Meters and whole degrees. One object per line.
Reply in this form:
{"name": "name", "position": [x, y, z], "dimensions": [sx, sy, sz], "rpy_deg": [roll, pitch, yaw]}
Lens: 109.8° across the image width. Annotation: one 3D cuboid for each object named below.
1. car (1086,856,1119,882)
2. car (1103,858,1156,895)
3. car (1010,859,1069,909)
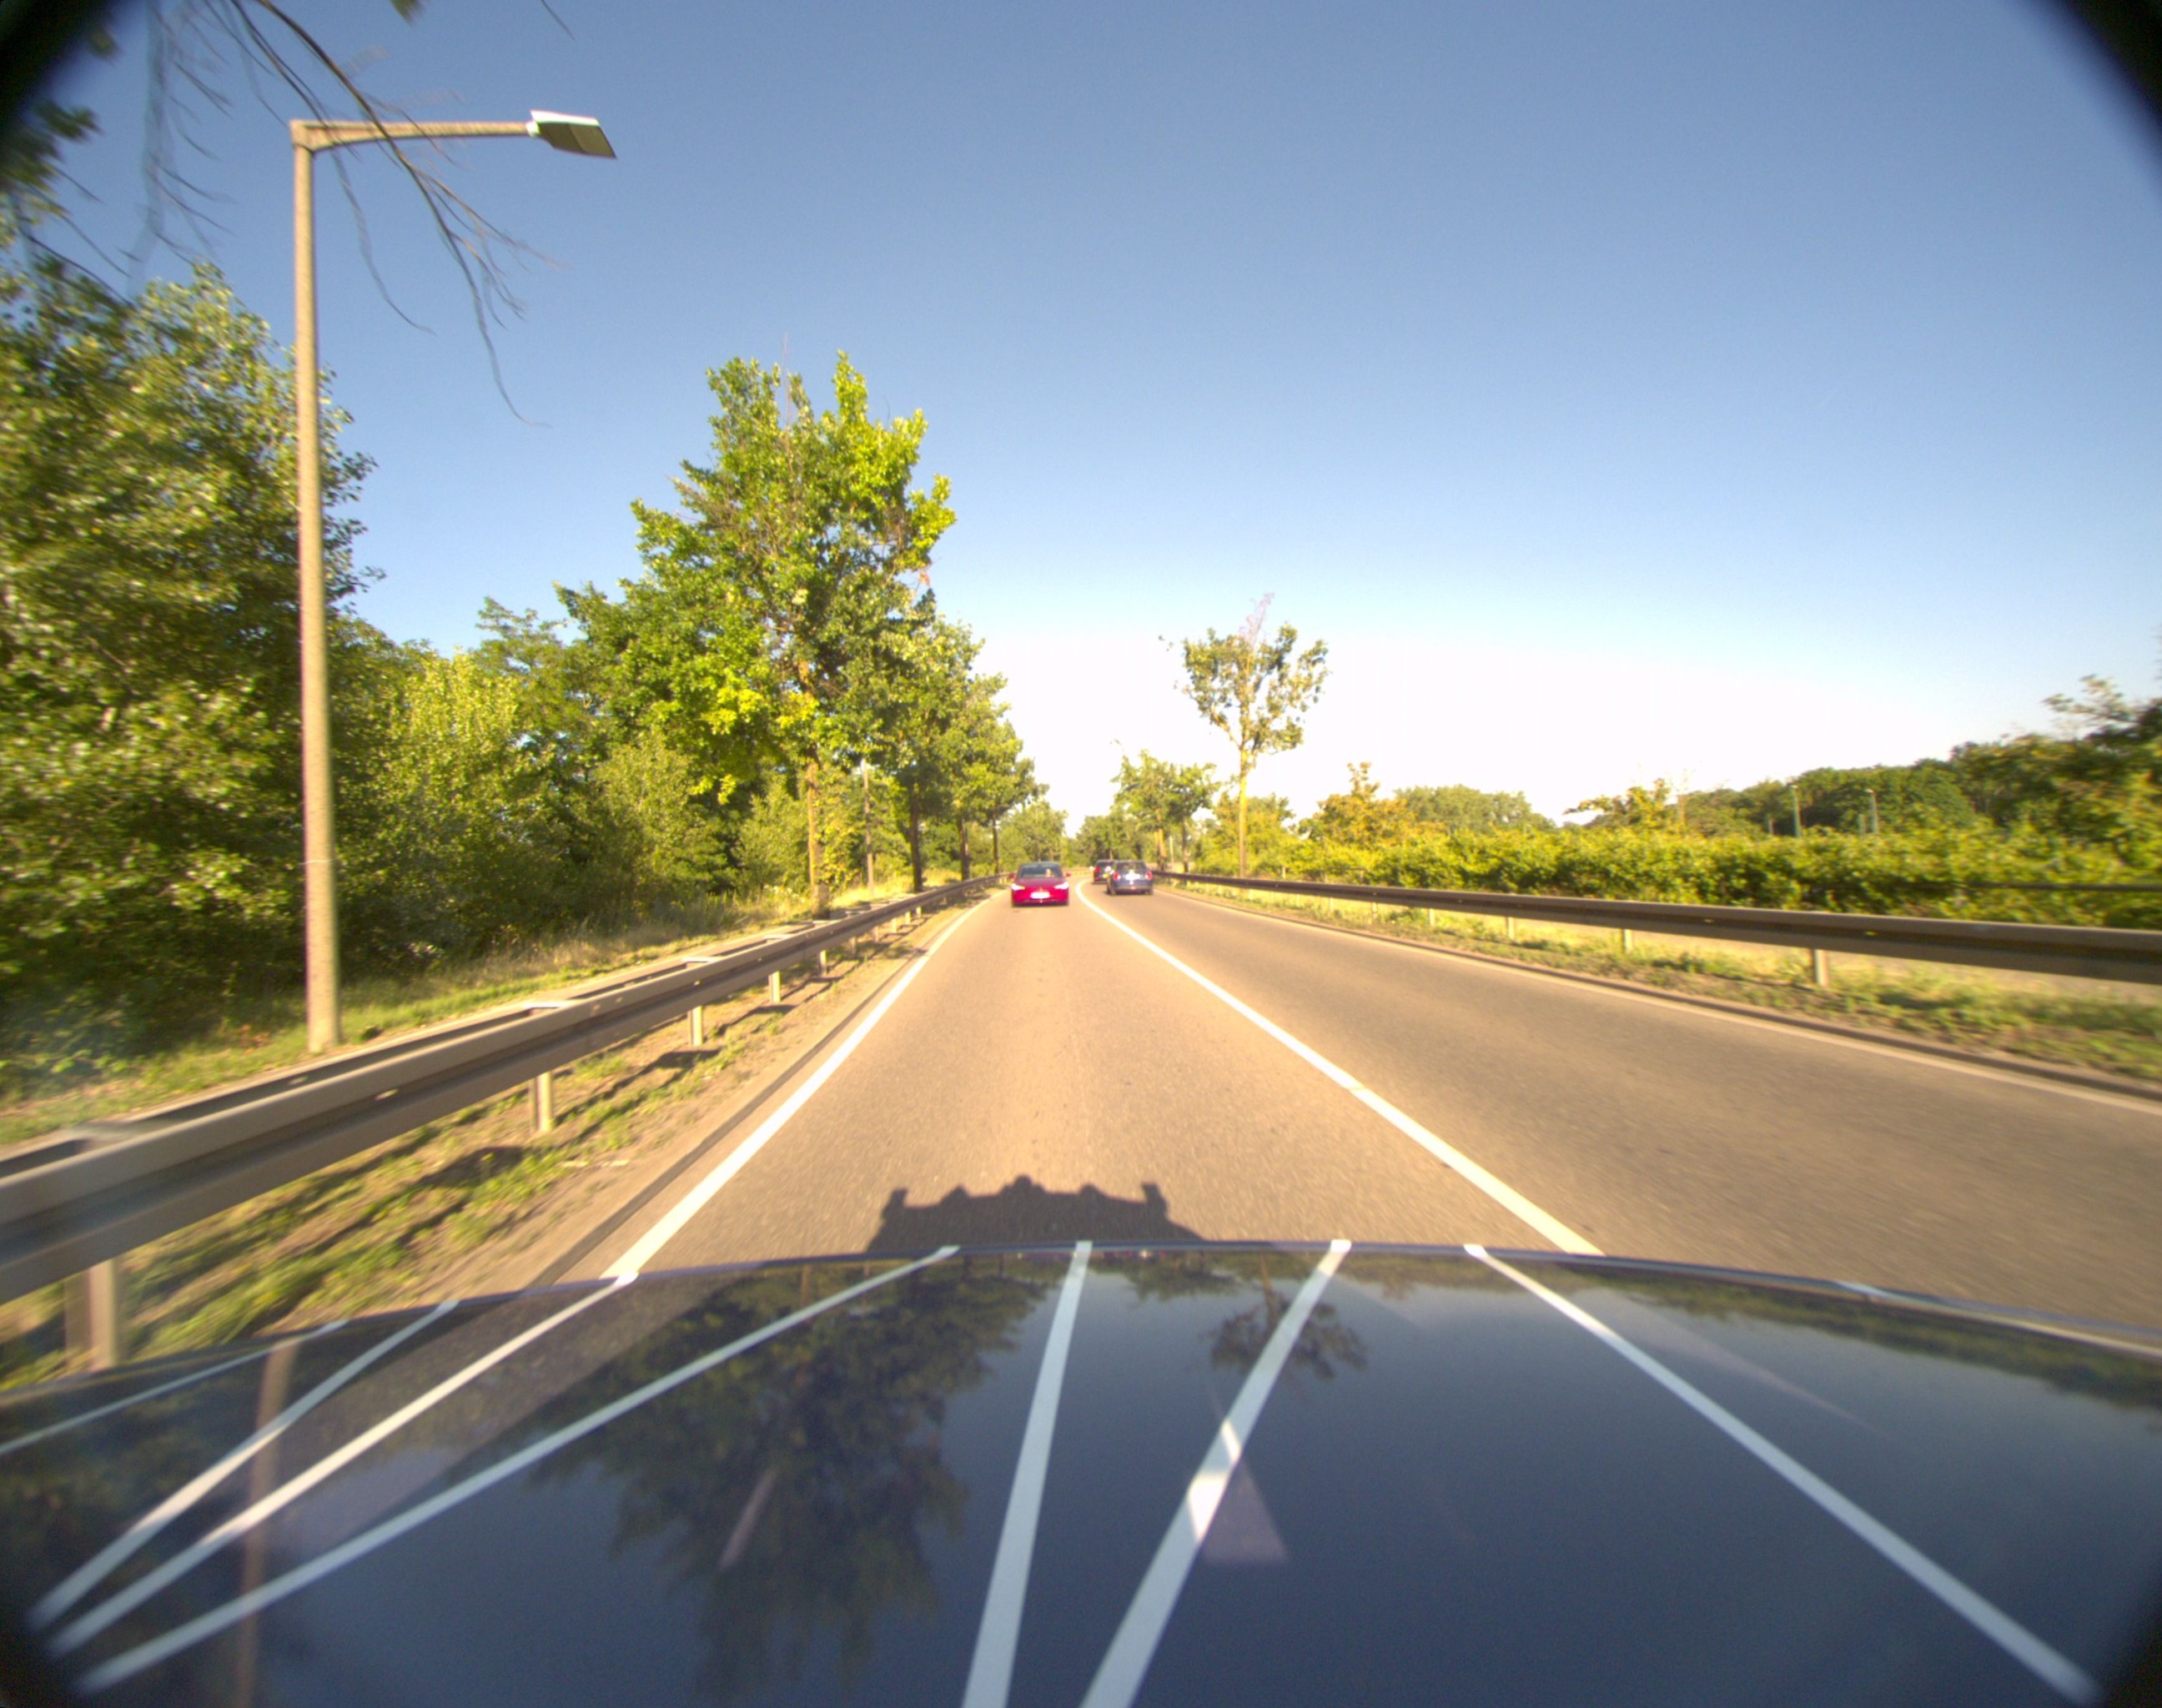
{"name": "car", "position": [1.258, 0.874, 46.053], "dimensions": [1.700, 1.458, 3.858], "rpy_deg": [-1, 0, -3]}
{"name": "car", "position": [1.971, 0.880, 31.674], "dimensions": [1.688, 1.415, 3.857], "rpy_deg": [-1, 0, -4]}
{"name": "car", "position": [-1.360, 0.935, 25.620], "dimensions": [1.782, 1.434, 4.358], "rpy_deg": [-2, 1, -2]}
